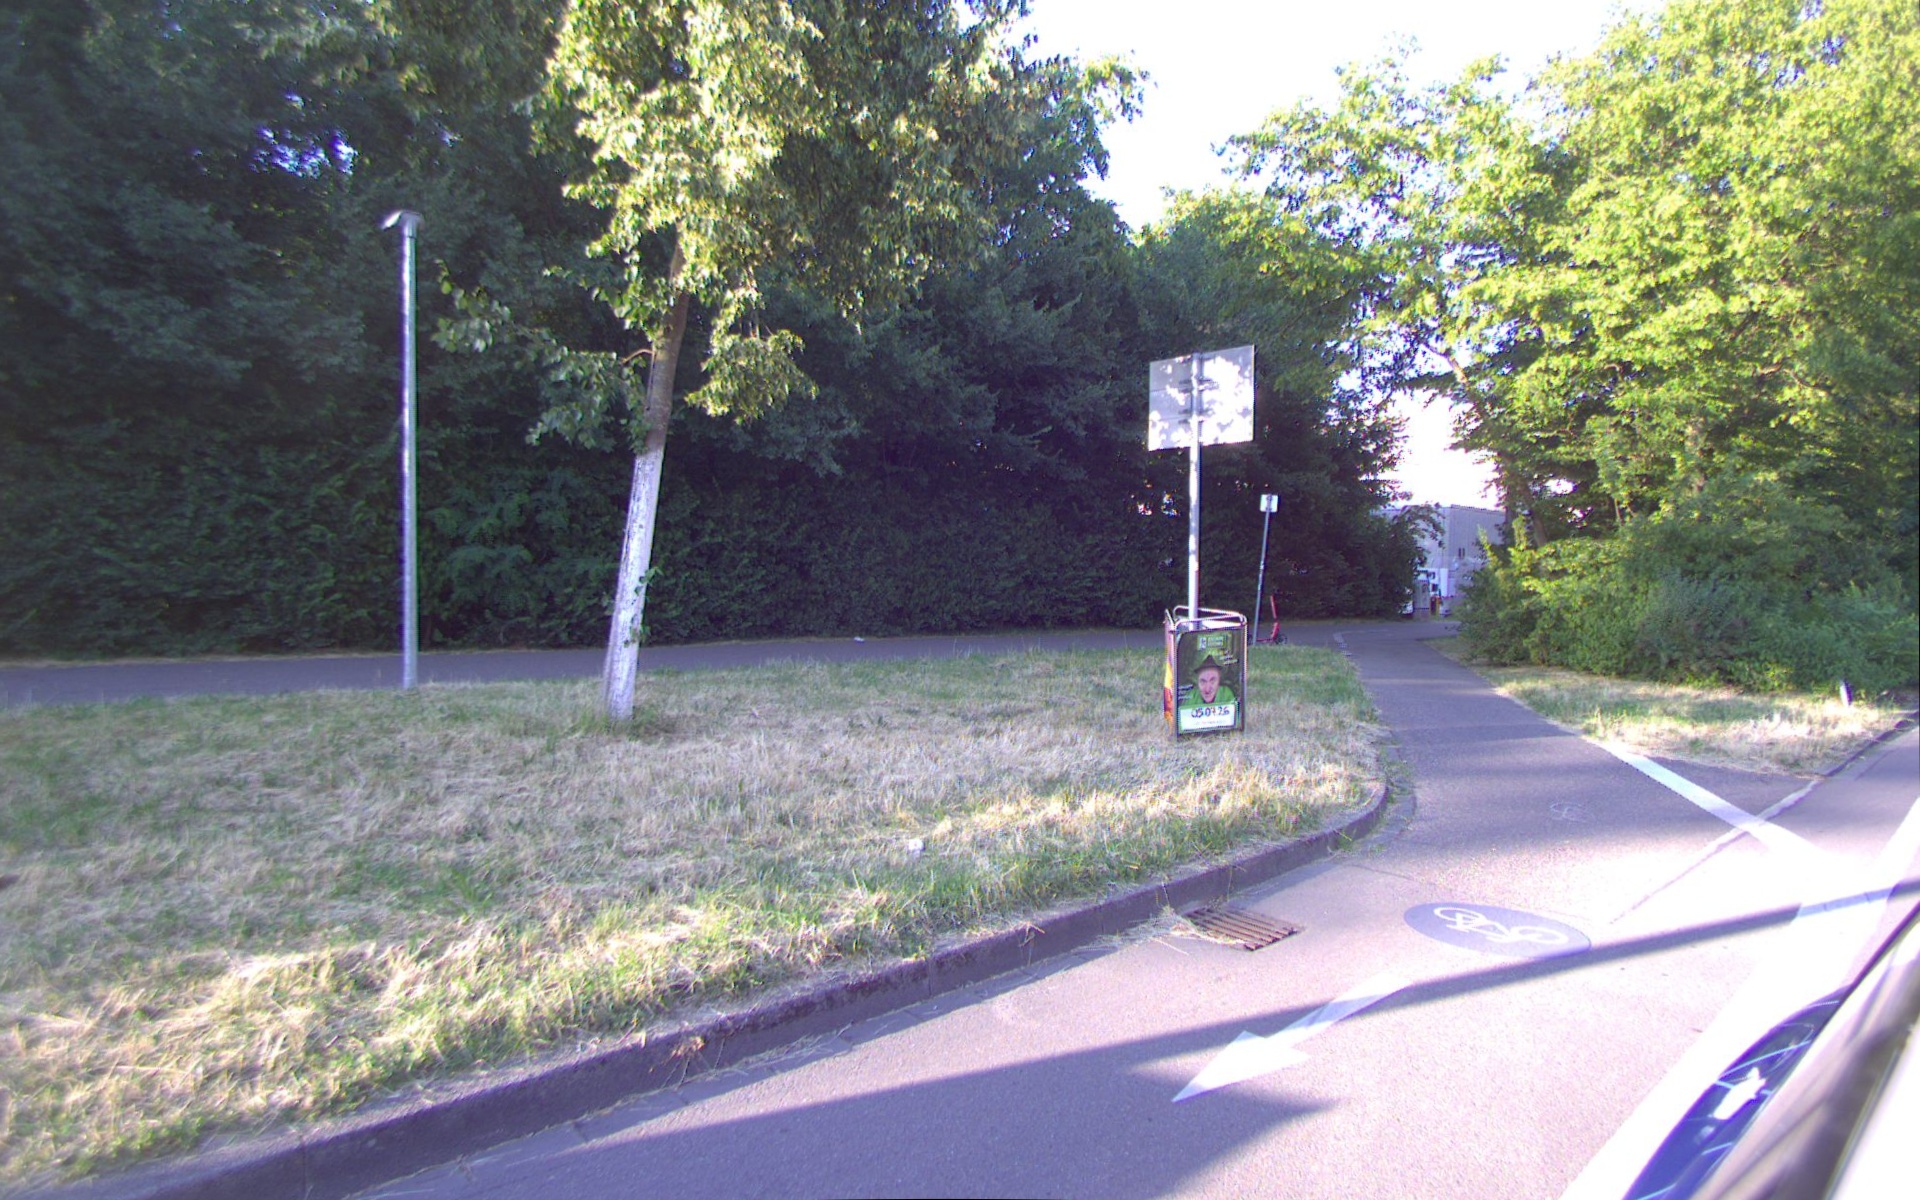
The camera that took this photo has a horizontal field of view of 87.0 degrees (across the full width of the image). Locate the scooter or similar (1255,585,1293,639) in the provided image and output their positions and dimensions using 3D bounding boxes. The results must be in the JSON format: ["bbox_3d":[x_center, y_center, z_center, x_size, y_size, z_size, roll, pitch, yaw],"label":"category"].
[{"bbox_3d":[6.449,0.248,20.787,0.819,1.100,0.194,1,-1,-26],"label":"scooter or similar"}]
